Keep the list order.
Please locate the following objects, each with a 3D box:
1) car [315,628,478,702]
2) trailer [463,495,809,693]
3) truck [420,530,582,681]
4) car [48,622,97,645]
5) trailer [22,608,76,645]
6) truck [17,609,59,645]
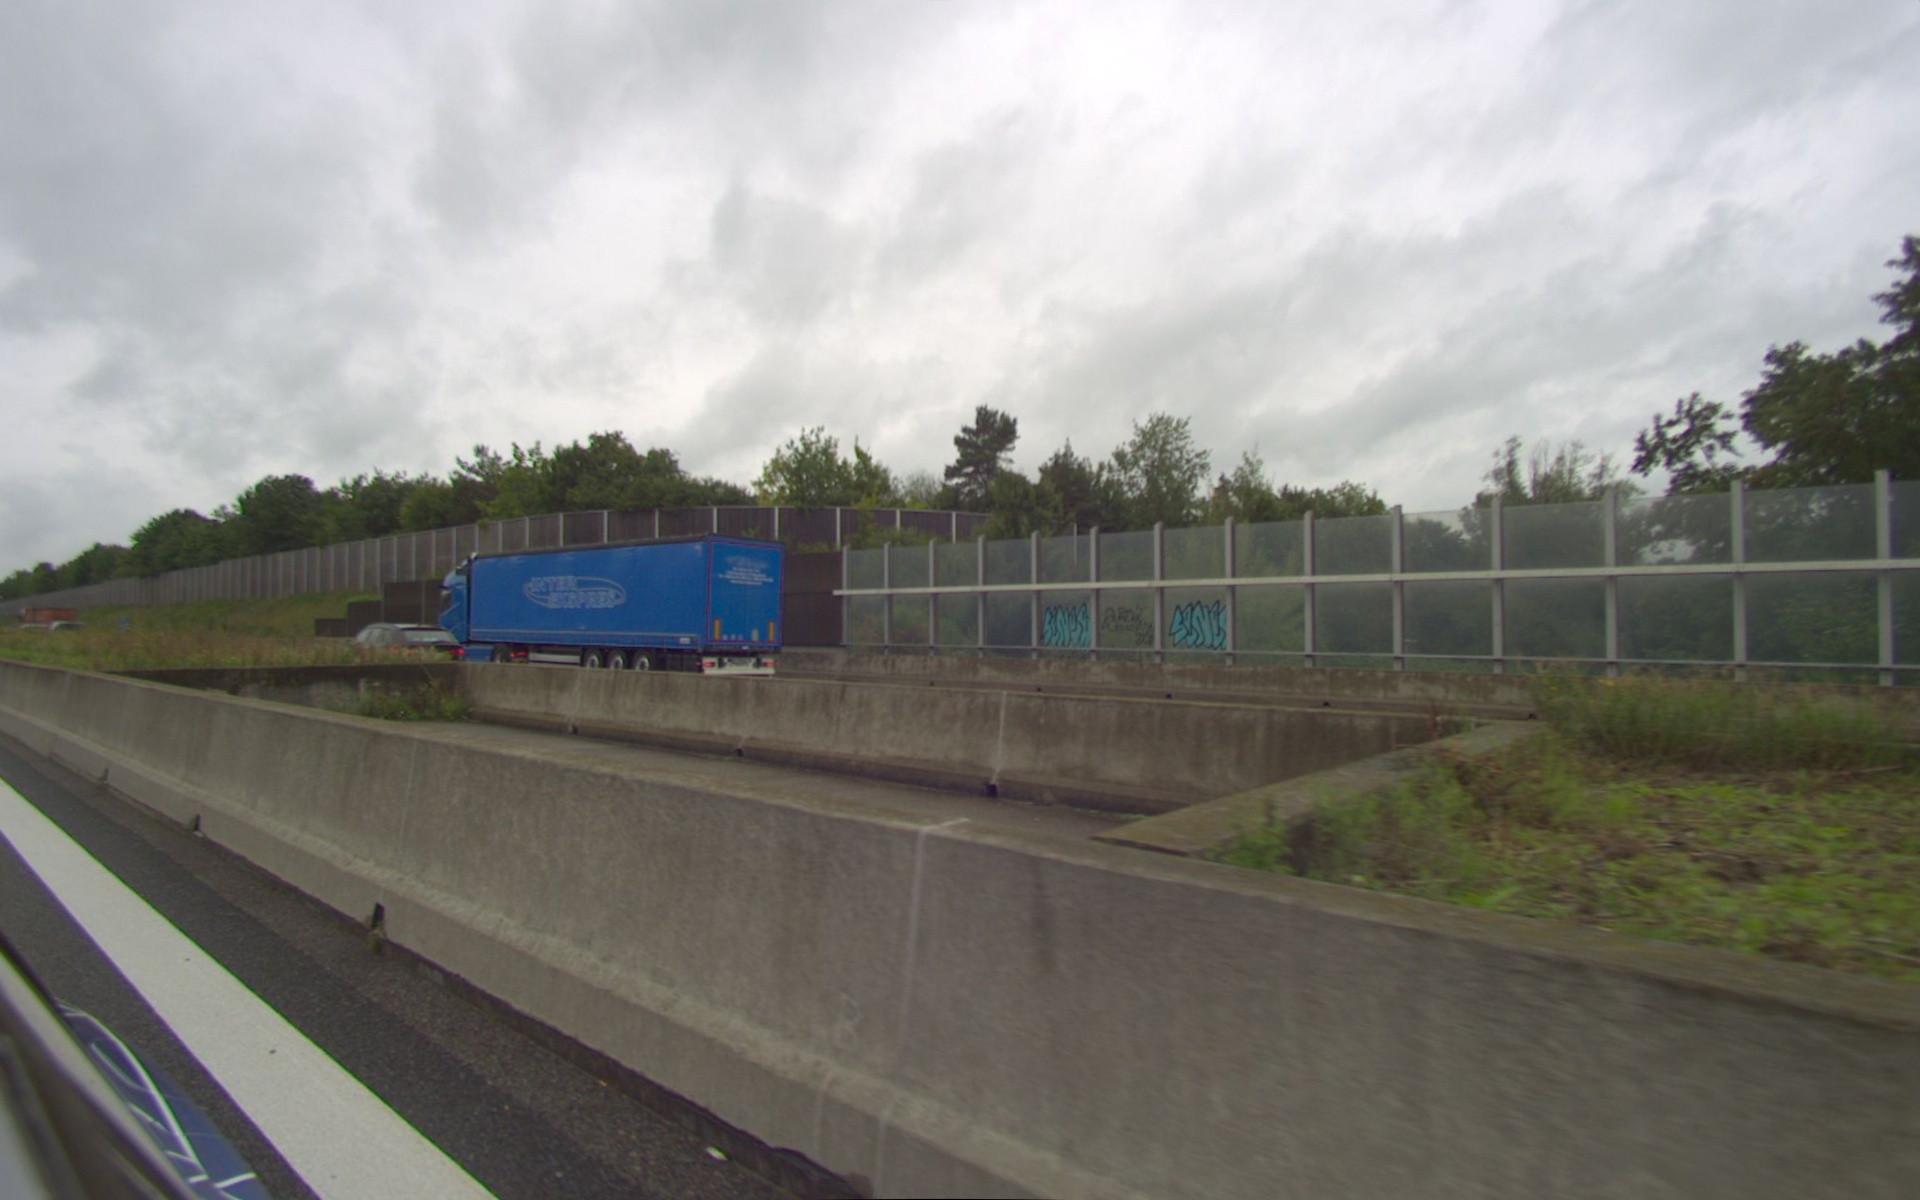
[{"bbox_3d":[-13.414,1.456,23.966,4.819,1.530,1.972,-2,-1,43],"label":"car"},{"bbox_3d":[-10.370,-0.057,30.736,13.514,4.922,3.185,-1,0,40],"label":"trailer"},{"bbox_3d":[-16.255,0.184,35.761,5.414,4.895,3.156,-1,0,40],"label":"truck"},{"bbox_3d":[-62.565,2.348,71.304,4.767,1.552,1.973,-2,-1,41],"label":"car"},{"bbox_3d":[-95.342,2.785,105.819,12.557,3.712,2.698,-2,-2,41],"label":"trailer"},{"bbox_3d":[-100.796,2.921,110.597,6.477,3.734,2.668,-1,0,41],"label":"truck"}]
